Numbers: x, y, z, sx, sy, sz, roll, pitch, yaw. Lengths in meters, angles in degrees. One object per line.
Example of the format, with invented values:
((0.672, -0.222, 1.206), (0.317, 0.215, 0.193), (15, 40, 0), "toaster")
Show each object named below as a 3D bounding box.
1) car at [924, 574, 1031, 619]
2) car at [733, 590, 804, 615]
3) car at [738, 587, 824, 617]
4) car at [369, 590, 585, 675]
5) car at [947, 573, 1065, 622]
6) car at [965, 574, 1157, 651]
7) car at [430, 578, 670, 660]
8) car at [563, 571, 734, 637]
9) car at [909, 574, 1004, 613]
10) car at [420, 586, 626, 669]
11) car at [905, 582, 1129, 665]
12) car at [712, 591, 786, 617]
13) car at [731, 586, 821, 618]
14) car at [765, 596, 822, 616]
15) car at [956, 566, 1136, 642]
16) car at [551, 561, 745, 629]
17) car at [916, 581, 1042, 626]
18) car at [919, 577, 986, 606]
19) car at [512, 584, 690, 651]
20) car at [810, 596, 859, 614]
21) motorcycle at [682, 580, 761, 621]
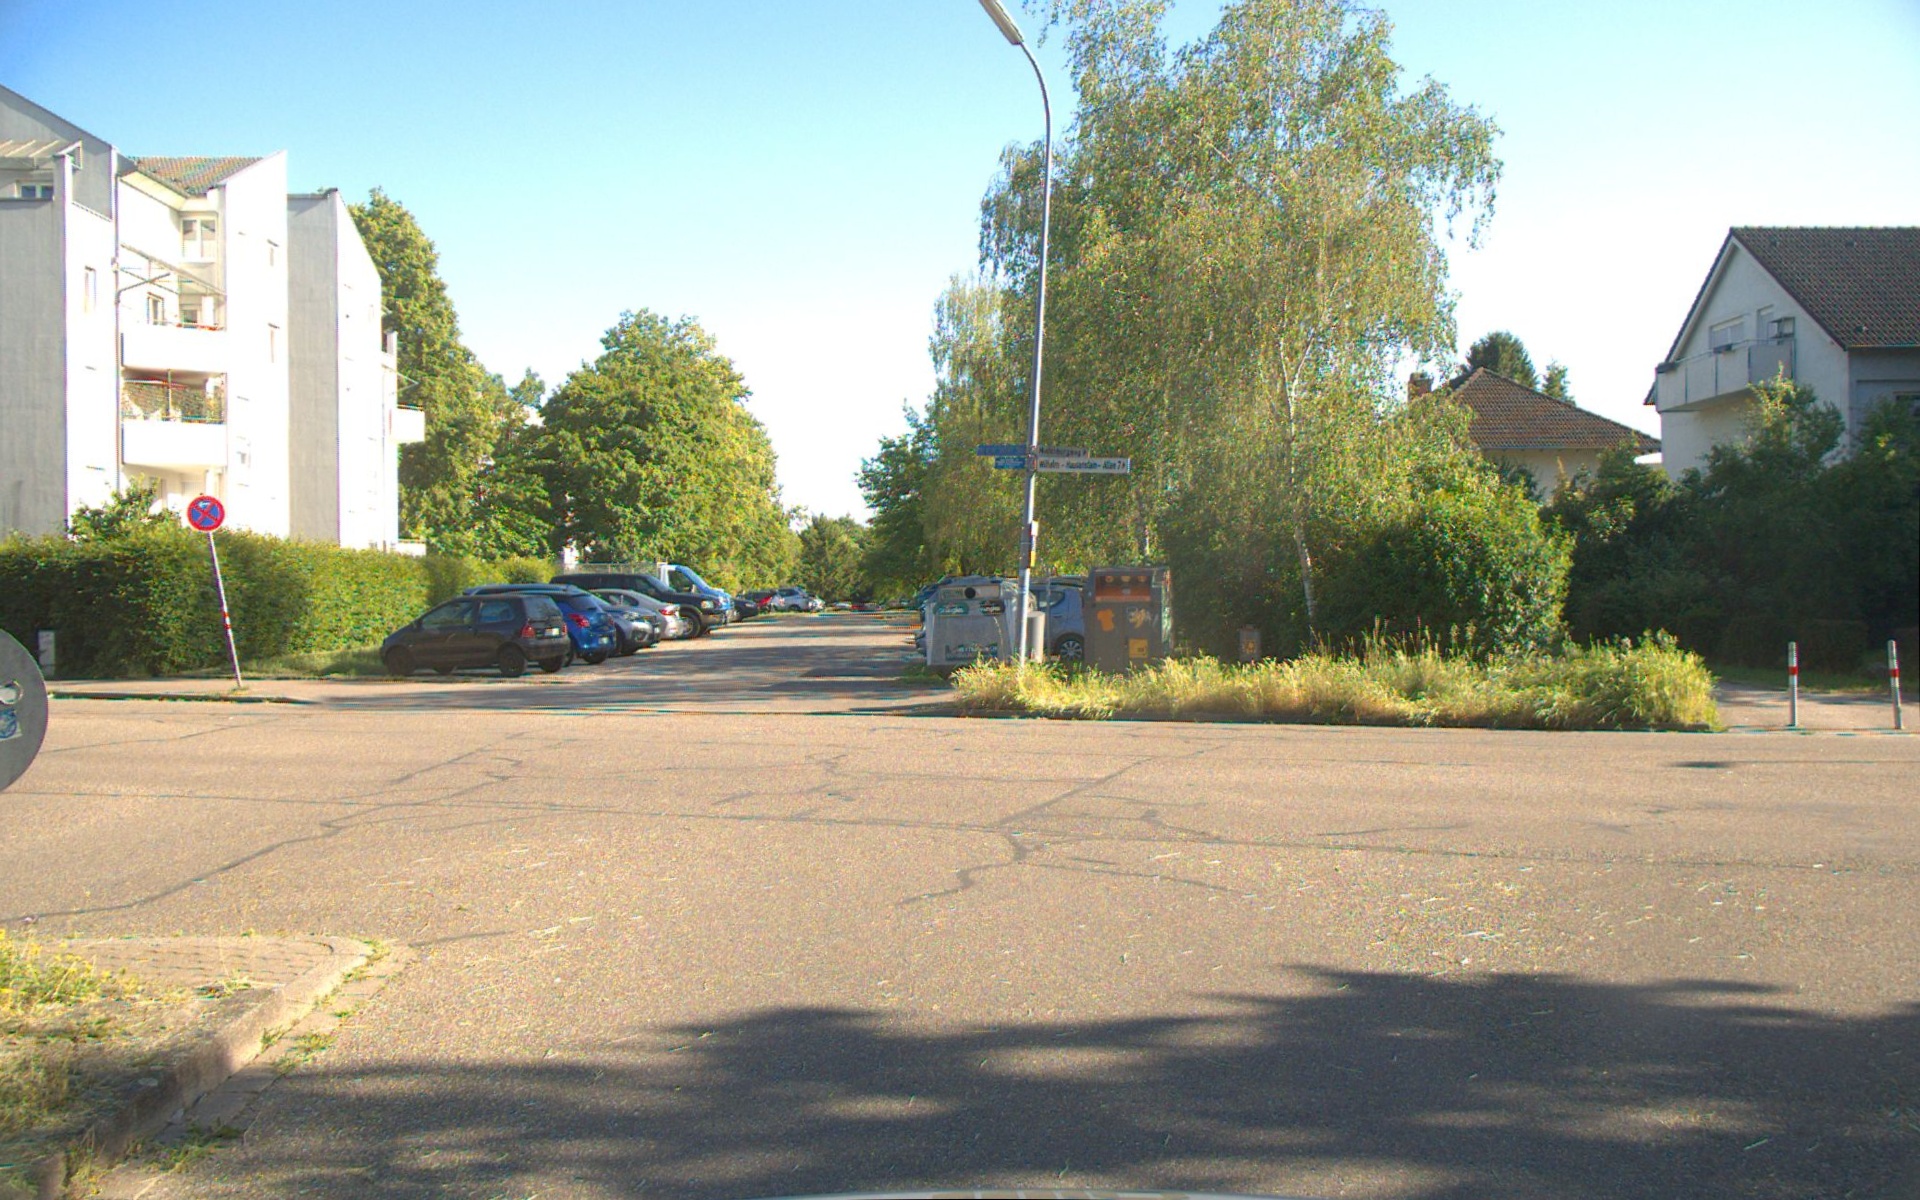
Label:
((0.683, -0.121, 61.335), (3.904, 1.613, 1.798), (0, 0, 2), "car")
((-10.965, 0.152, 94.959), (3.860, 1.357, 1.846), (-1, 0, -2), "car")
((-8.368, 0.098, 77.447), (3.860, 1.357, 1.846), (-1, 0, -2), "car")
((-8.942, 0.581, 30.688), (3.447, 1.492, 1.705), (0, 1, 15), "car")
((1.561, -0.068, 55.552), (3.904, 1.613, 1.798), (0, 0, 2), "car")
((2.181, 0.255, 36.423), (3.975, 1.631, 1.788), (0, 2, -7), "car")
((-9.158, 0.412, 37.161), (4.887, 1.683, 1.785), (-2, 1, 4), "car")
((-8.858, 0.103, 47.247), (4.427, 1.802, 1.848), (-1, 0, 3), "car")
((-0.120, -0.287, 69.670), (3.904, 1.613, 1.798), (0, 0, 2), "car")
((-8.743, 0.539, 33.207), (3.601, 1.522, 1.653), (-1, 1, 11), "car")
((1.092, 0.410, 30.900), (3.966, 1.464, 1.636), (1, 0, 12), "car")
((-11.671, 0.226, 91.571), (3.860, 1.357, 1.846), (-1, 0, -2), "car")
((-8.245, 0.070, 74.423), (3.860, 1.357, 1.846), (-1, 0, -2), "car")
((-11.551, 0.423, 114.906), (3.860, 1.357, 1.846), (-1, 0, -2), "car")
((2.004, 0.068, 39.347), (4.026, 1.736, 1.788), (0, 1, -8), "car")
((-10.477, -0.188, 55.985), (6.132, 2.184, 2.409), (-1, 0, -4), "car")
((0.620, 0.110, 52.419), (3.904, 1.425, 1.798), (0, 0, 2), "car")
((-0.407, -0.491, 98.225), (3.904, 1.738, 1.798), (0, 0, 2), "car")
((-8.878, 0.419, 41.137), (4.061, 1.480, 1.618), (-2, 0, -4), "car")
((-9.396, 0.379, 124.054), (3.571, 1.234, 1.846), (-1, 0, -2), "car")
((-9.858, 0.010, 68.519), (3.125, 1.624, 0.923), (-1, 0, 0), "motorcycle")
